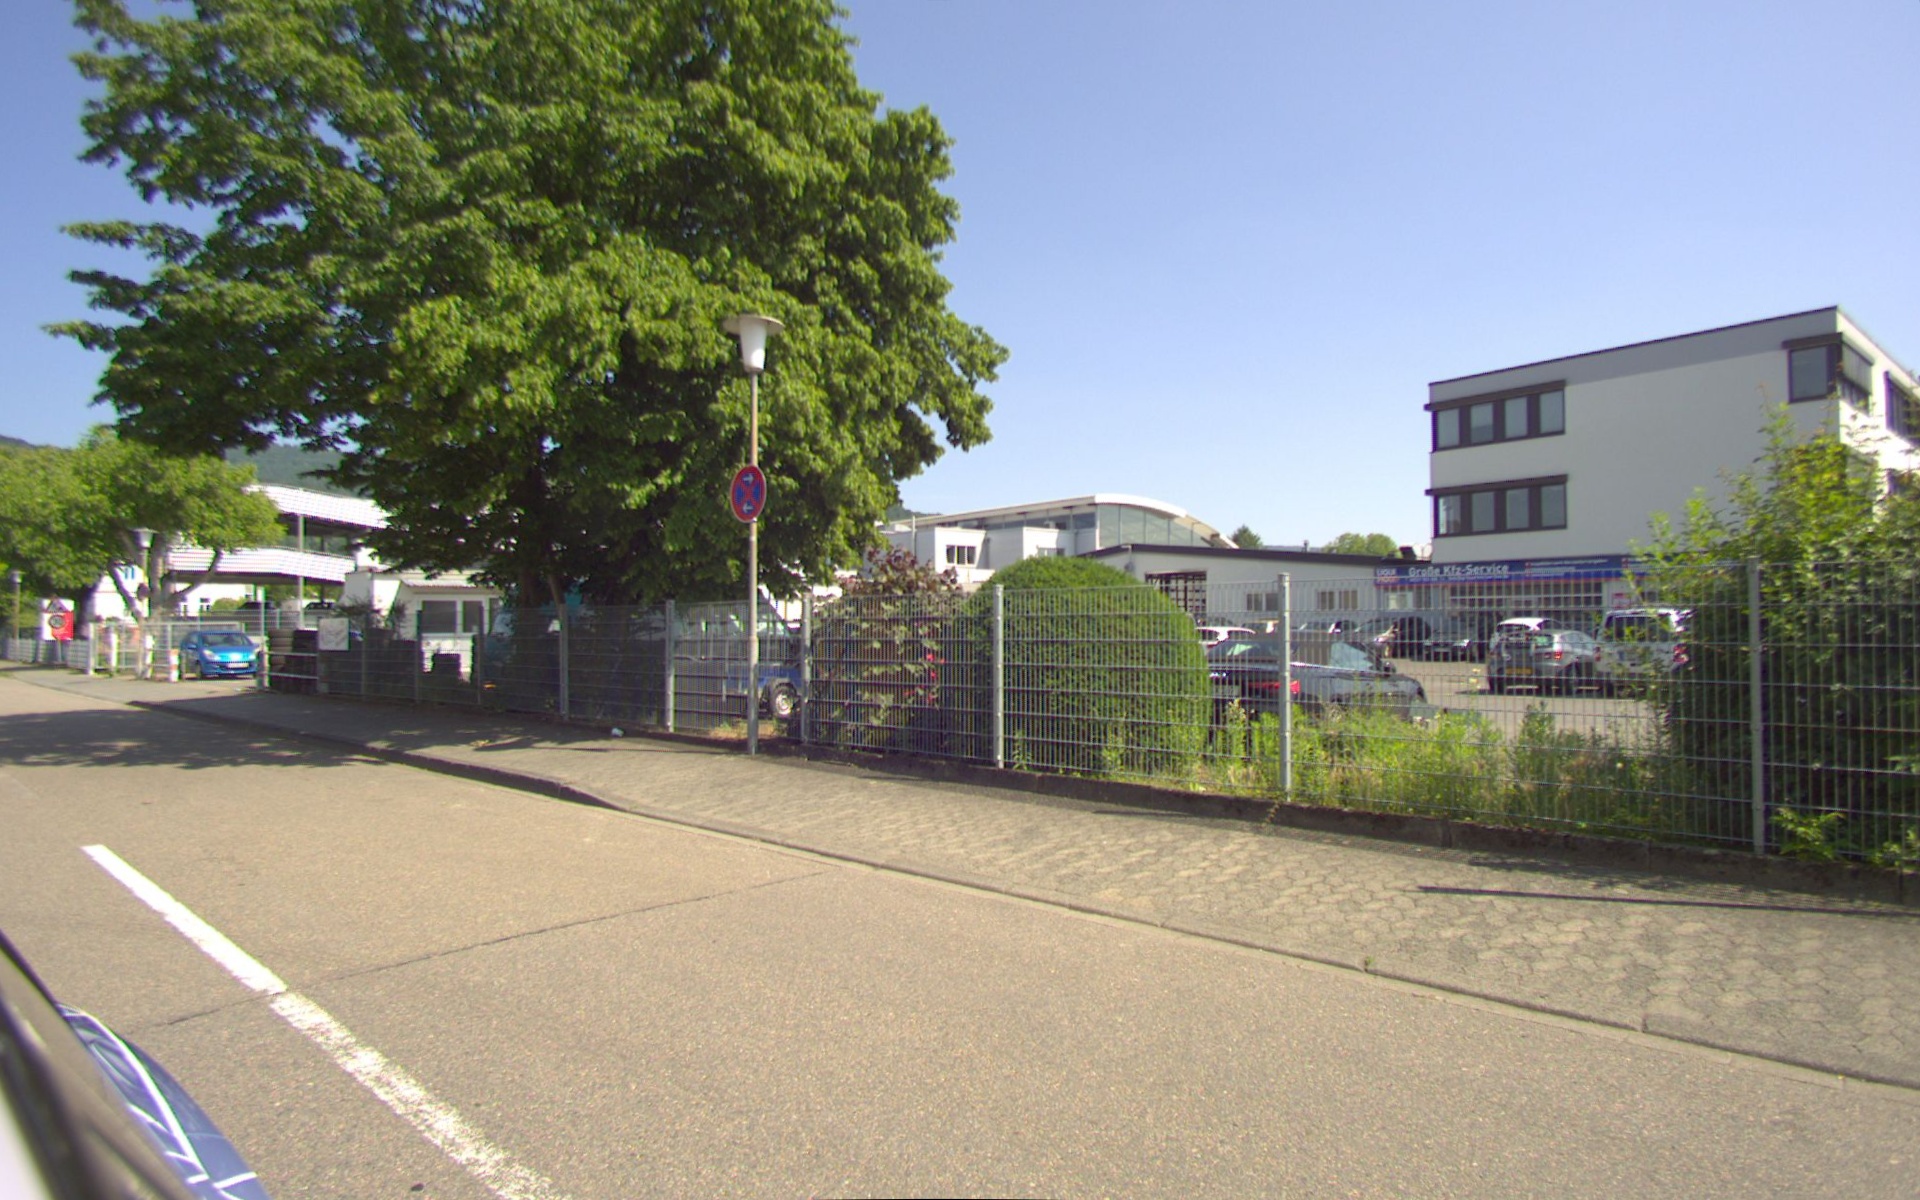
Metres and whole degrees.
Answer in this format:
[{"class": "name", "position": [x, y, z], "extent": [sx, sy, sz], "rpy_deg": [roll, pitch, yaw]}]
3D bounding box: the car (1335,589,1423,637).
[{"class": "car", "position": [16.211, 0.477, 39.103], "extent": [1.891, 1.696, 3.944], "rpy_deg": [-1, 1, 42]}]

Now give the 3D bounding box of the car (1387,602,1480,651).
[{"class": "car", "position": [17.514, 0.980, 37.385], "extent": [2.000, 1.697, 3.943], "rpy_deg": [-2, -3, 43]}]

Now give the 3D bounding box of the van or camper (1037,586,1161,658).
[{"class": "van or camper", "position": [4.846, 0.743, 34.872], "extent": [4.532, 2.323, 1.783], "rpy_deg": [1, -1, -43]}]

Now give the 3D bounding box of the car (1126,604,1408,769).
[{"class": "car", "position": [3.648, 0.870, 11.607], "extent": [1.854, 1.553, 3.787], "rpy_deg": [-2, -2, 38]}]

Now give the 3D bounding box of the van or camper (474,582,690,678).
[{"class": "van or camper", "position": [-8.361, 0.600, 22.620], "extent": [1.774, 1.877, 4.137], "rpy_deg": [-1, 1, 43]}]

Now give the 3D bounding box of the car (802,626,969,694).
[{"class": "car", "position": [-1.605, 1.285, 22.711], "extent": [1.730, 1.389, 3.588], "rpy_deg": [-2, -2, 39]}]

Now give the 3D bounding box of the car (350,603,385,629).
[{"class": "car", "position": [-36.579, 0.967, 62.544], "extent": [1.680, 1.469, 3.536], "rpy_deg": [-2, 1, -27]}]

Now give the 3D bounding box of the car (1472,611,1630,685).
[{"class": "car", "position": [13.765, 1.061, 23.505], "extent": [3.976, 1.569, 1.931], "rpy_deg": [1, -2, -40]}]

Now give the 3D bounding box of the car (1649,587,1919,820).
[{"class": "car", "position": [7.070, 0.720, 8.491], "extent": [1.803, 1.523, 3.856], "rpy_deg": [-2, -2, 39]}]

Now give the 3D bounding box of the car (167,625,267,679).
[{"class": "car", "position": [-22.420, 1.524, 30.501], "extent": [3.522, 1.469, 1.624], "rpy_deg": [-1, 1, 40]}]

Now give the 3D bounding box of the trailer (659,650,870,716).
[{"class": "trailer", "position": [-3.296, 1.367, 17.397], "extent": [1.612, 0.946, 3.246], "rpy_deg": [-2, -3, 43]}]

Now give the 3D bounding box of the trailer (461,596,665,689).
[{"class": "trailer", "position": [-10.637, 1.067, 27.414], "extent": [1.999, 2.171, 4.720], "rpy_deg": [-1, 1, 42]}]

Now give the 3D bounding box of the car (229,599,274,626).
[{"class": "car", "position": [-40.892, 0.758, 58.495], "extent": [1.680, 1.469, 3.536], "rpy_deg": [1, -2, -28]}]

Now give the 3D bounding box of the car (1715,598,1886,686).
[{"class": "car", "position": [16.810, 0.801, 20.184], "extent": [3.872, 1.580, 1.860], "rpy_deg": [1, -2, -39]}]

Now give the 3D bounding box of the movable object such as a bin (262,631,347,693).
[{"class": "movable object such as a bin", "position": [-16.047, 1.477, 24.753], "extent": [1.364, 1.368, 2.105], "rpy_deg": [-2, 1, -43]}]

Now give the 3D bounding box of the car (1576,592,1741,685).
[{"class": "car", "position": [15.170, 0.819, 21.919], "extent": [3.976, 1.837, 1.931], "rpy_deg": [1, -3, -40]}]

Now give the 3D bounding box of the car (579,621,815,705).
[{"class": "car", "position": [-4.827, 1.119, 18.892], "extent": [1.861, 1.397, 3.871], "rpy_deg": [-2, -3, 45]}]

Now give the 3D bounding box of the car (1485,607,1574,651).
[{"class": "car", "position": [19.619, 0.984, 34.835], "extent": [3.080, 1.437, 1.425], "rpy_deg": [1, -2, -34]}]

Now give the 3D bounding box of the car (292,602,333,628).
[{"class": "car", "position": [-38.534, 0.868, 60.268], "extent": [1.680, 1.469, 3.536], "rpy_deg": [-2, 1, -27]}]

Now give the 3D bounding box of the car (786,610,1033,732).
[{"class": "car", "position": [-0.621, 0.920, 14.136], "extent": [1.517, 1.496, 3.341], "rpy_deg": [-2, -3, 43]}]
